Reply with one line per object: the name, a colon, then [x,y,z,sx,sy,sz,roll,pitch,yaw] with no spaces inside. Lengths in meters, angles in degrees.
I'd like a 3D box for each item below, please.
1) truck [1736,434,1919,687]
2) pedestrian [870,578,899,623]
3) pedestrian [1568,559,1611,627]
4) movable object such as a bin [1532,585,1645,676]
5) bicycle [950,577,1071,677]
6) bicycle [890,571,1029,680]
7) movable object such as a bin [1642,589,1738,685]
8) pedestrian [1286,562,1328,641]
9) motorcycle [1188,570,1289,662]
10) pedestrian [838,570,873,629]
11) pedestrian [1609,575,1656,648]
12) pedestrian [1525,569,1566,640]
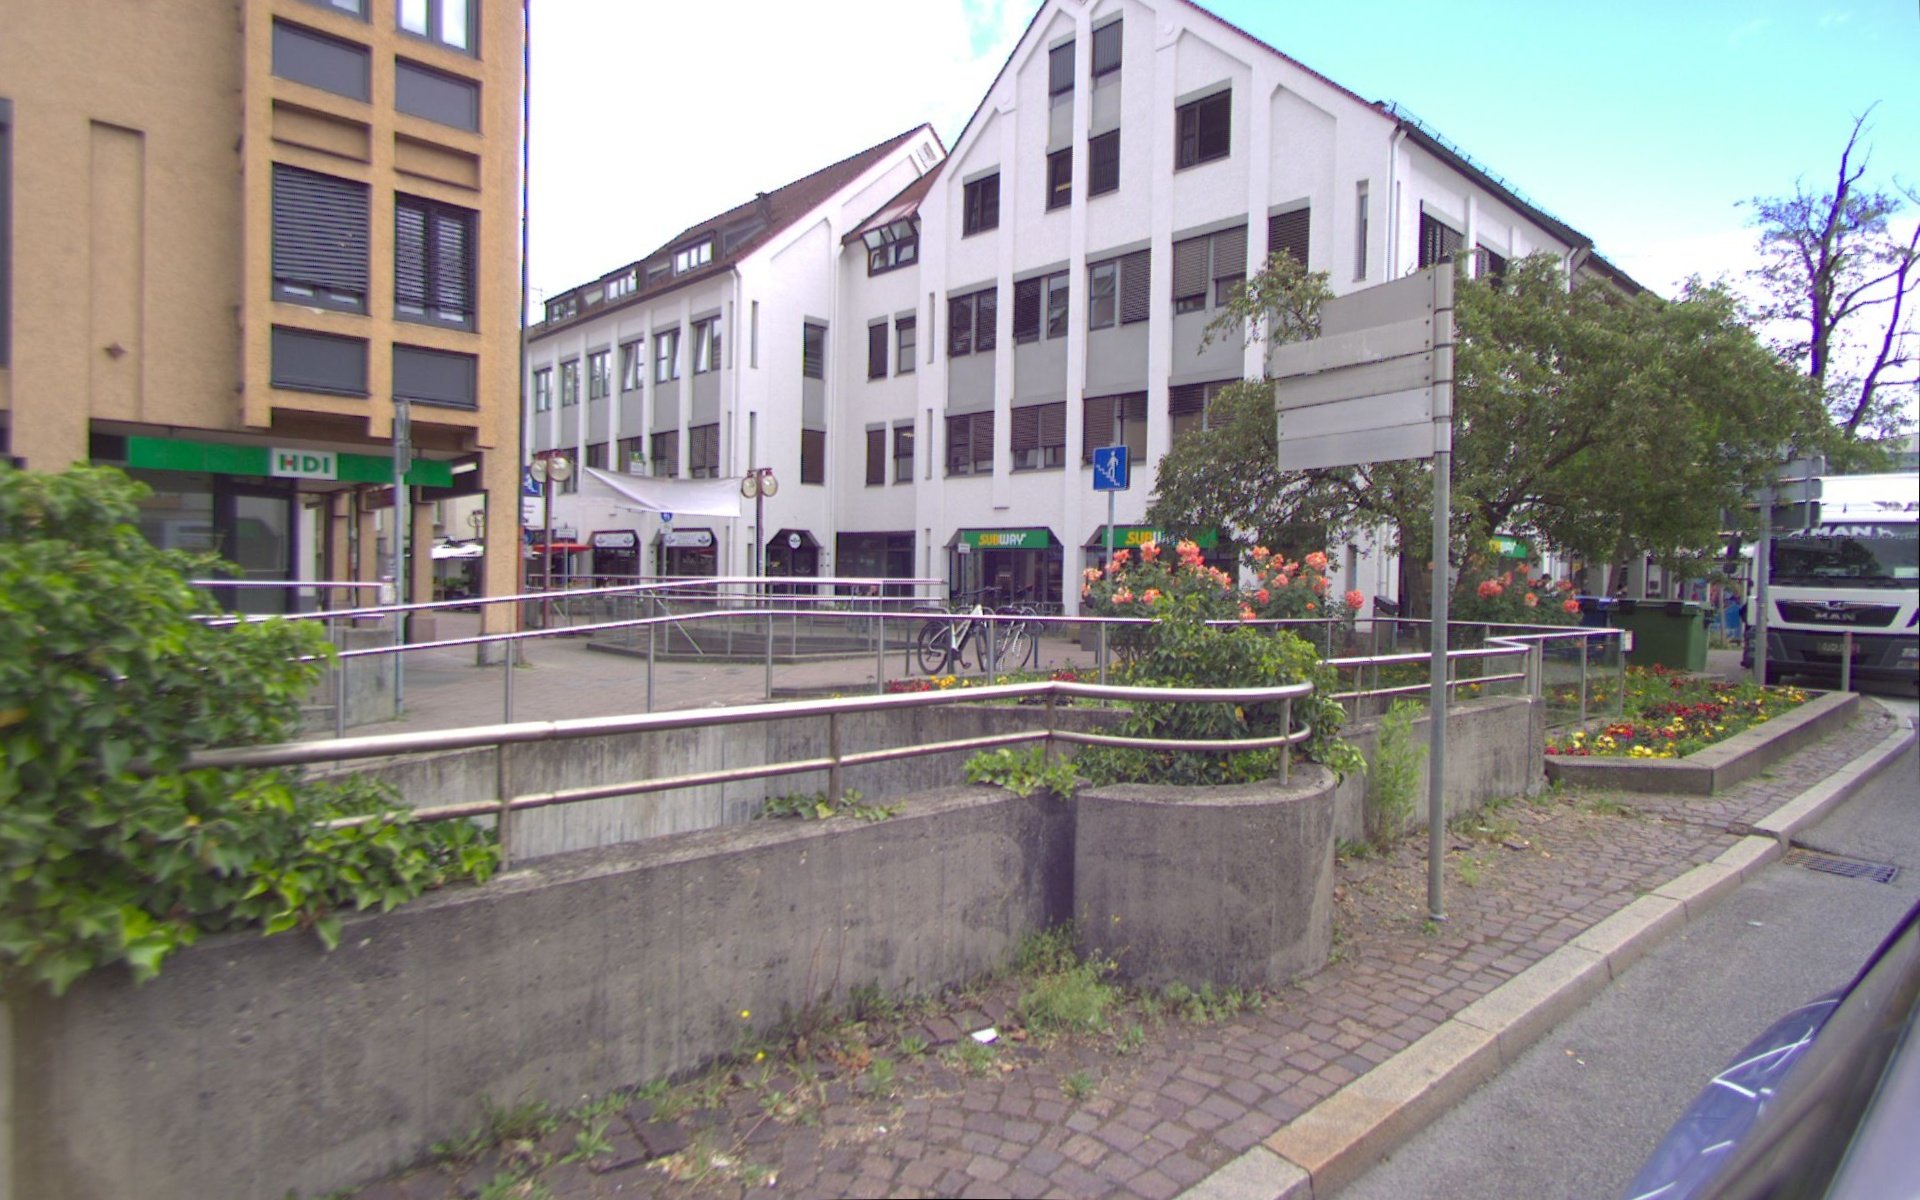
truck: [16.769,-0.577,18.138,9.596,3.605,2.693,0,1,-41]
pedestrian: [-2.114,0.017,28.202,0.504,1.215,0.619,1,1,-43]
pedestrian: [15.386,-0.183,24.733,0.564,1.622,0.744,1,1,-43]
movable object such as a bin: [10.167,0.465,16.384,1.351,1.356,1.146,0,2,-39]
bicycle: [0.683,0.342,14.102,0.658,1.274,1.676,1,1,-44]
bicycle: [-0.035,0.303,13.589,0.829,1.343,1.818,1,1,-44]
movable object such as a bin: [10.928,0.528,15.158,1.066,1.356,0.884,0,1,-39]
pedestrian: [7.319,0.026,21.344,0.502,1.622,0.621,1,1,-24]
motorcycle: [4.740,0.251,17.154,1.913,1.456,0.721,0,1,-43]
pedestrian: [-2.690,-0.016,26.069,0.606,1.494,0.611,2,1,42]
pedestrian: [15.346,0.251,23.118,0.737,1.622,0.570,2,1,21]
pedestrian: [13.824,0.096,23.886,0.732,1.622,0.573,1,1,-40]
